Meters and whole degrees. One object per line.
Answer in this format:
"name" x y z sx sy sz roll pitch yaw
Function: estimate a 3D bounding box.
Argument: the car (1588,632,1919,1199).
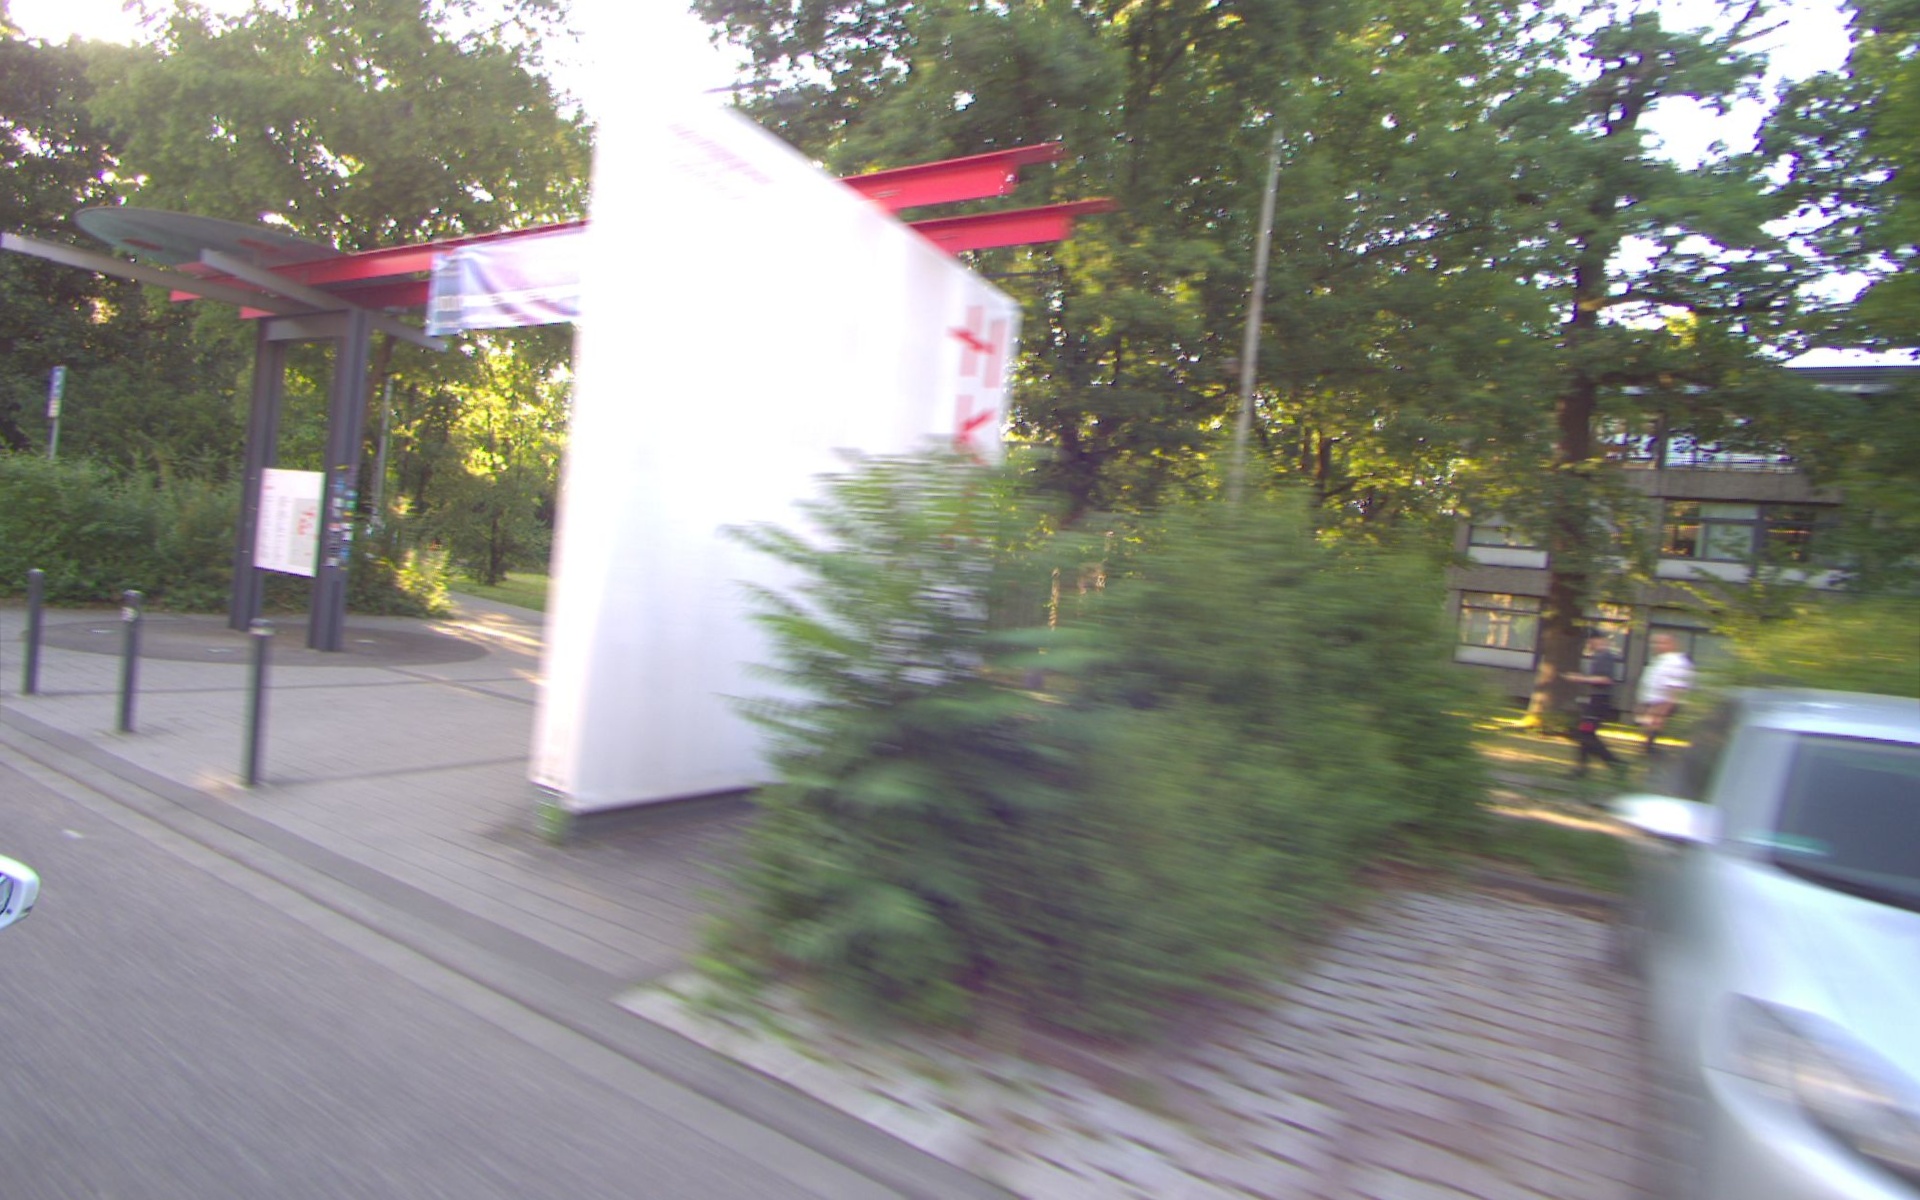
"car" 3.428 0.998 3.449 1.884 1.574 4.928 7 2 31

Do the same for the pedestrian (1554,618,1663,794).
"pedestrian" 7.159 1.150 11.144 0.776 1.794 0.648 6 1 27

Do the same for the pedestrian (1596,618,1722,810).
"pedestrian" 7.101 1.135 10.265 0.772 1.794 0.665 7 1 27
